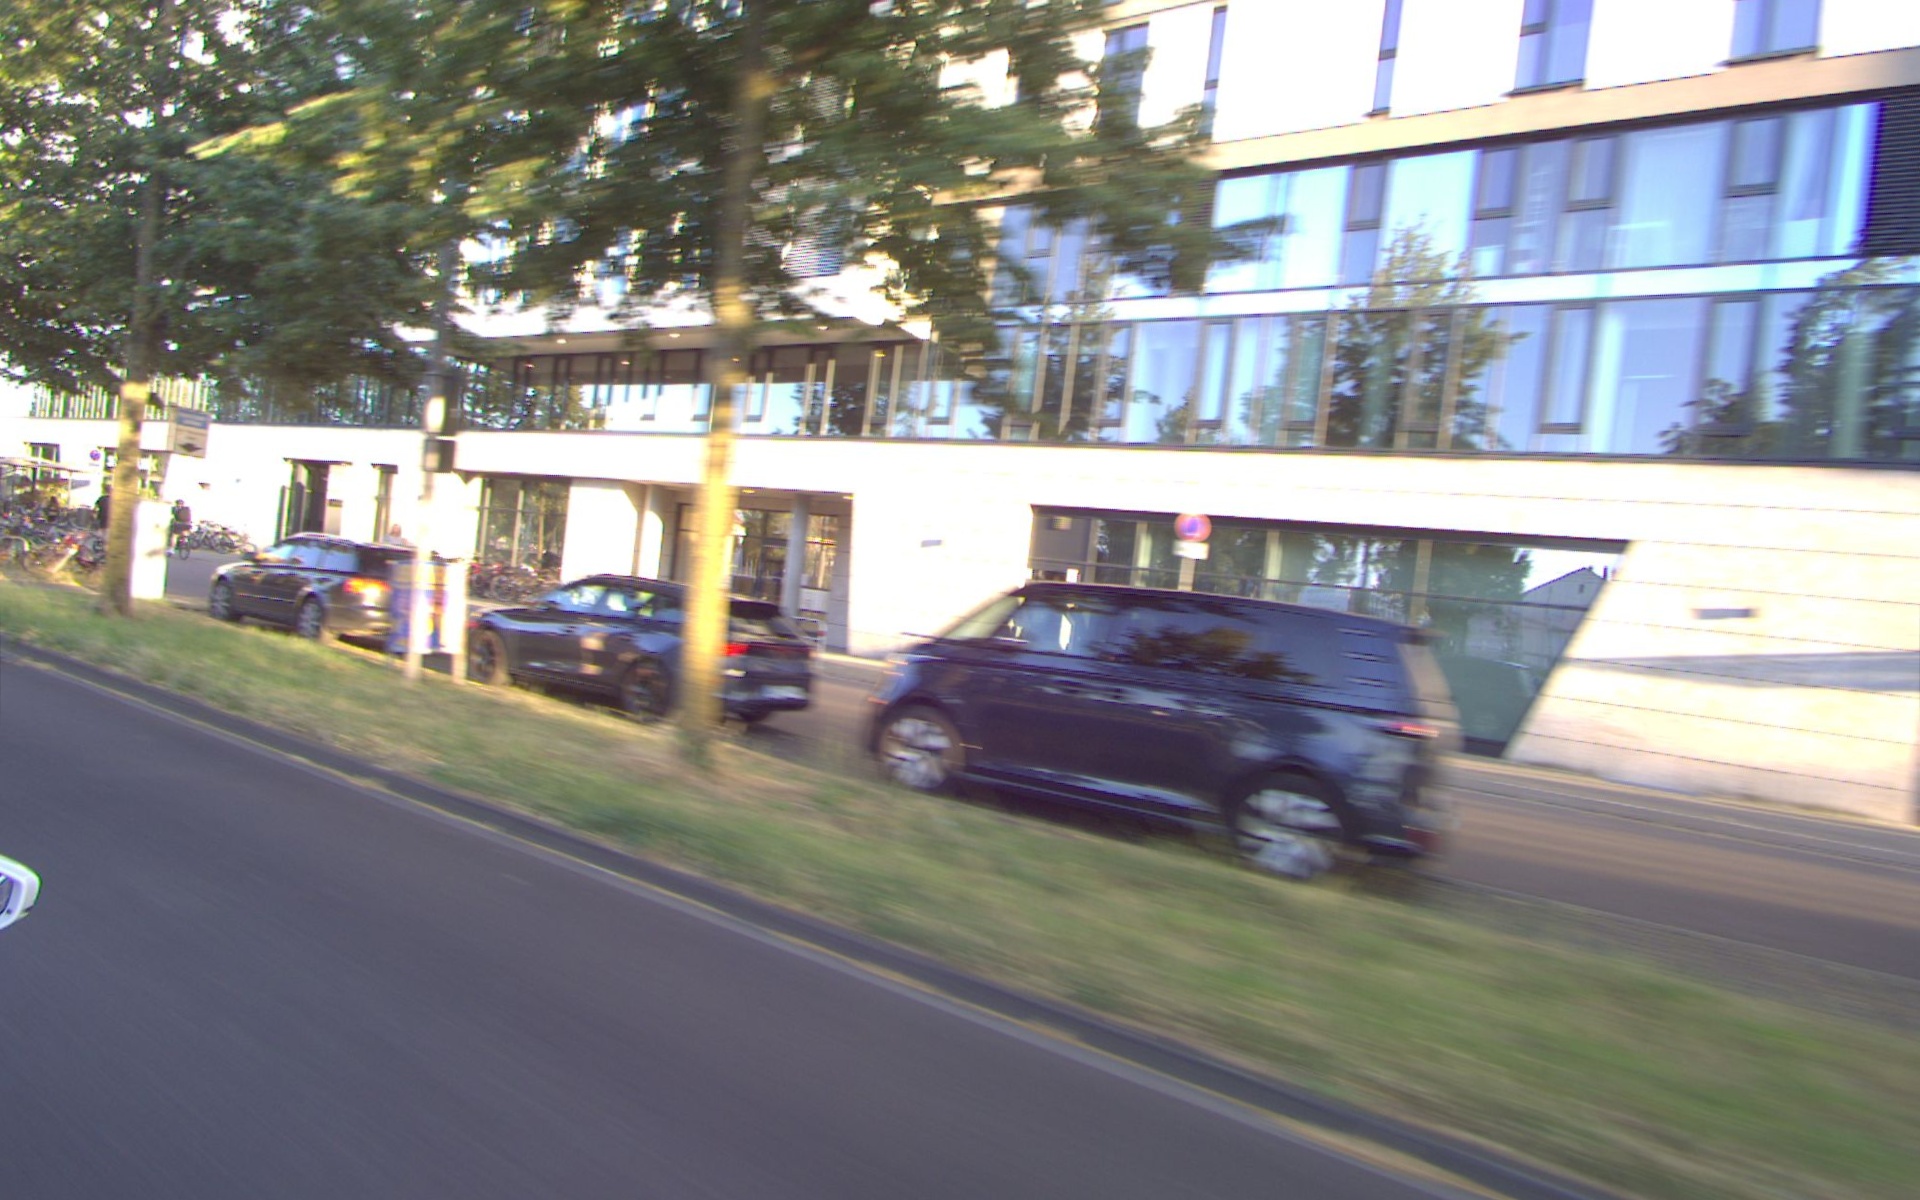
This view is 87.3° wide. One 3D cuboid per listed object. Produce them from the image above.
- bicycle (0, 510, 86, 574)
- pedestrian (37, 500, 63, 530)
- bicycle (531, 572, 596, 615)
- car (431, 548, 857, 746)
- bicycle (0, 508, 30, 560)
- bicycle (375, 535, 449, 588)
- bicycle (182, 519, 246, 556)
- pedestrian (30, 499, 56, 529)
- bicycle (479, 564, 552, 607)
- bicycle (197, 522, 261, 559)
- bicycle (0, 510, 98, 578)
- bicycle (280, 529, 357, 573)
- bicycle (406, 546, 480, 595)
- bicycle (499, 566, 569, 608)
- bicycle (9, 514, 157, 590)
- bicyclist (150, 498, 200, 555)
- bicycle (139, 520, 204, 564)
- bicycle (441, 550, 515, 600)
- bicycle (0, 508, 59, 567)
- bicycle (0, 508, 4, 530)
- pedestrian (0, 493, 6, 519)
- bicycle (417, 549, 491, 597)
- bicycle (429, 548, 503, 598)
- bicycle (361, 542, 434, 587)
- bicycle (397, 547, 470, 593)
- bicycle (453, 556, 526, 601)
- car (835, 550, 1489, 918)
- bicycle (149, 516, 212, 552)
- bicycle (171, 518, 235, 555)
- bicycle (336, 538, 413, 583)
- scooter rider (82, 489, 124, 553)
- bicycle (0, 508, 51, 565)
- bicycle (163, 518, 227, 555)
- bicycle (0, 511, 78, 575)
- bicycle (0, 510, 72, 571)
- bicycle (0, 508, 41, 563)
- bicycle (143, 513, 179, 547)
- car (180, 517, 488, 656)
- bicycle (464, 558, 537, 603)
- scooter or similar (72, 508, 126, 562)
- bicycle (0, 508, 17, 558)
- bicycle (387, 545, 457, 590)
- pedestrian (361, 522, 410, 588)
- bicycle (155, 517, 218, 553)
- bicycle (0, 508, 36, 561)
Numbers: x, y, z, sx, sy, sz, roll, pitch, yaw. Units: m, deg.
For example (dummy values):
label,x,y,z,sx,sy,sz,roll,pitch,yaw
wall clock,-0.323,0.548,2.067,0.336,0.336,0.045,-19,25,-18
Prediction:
label,x,y,z,sx,sy,sz,roll,pitch,yaw
bicycle,-18.990,-1.208,20.273,0.535,1.065,1.951,8,-3,21
pedestrian,-39.960,-3.721,44.179,0.793,1.210,0.572,7,1,34
bicycle,-10.464,-0.162,26.591,0.397,0.999,1.577,7,0,32
car,-3.605,0.435,11.238,4.586,1.489,1.812,7,0,30
bicycle,-21.422,-1.567,21.646,0.407,1.065,1.950,7,-4,24
bicycle,-16.298,-1.123,29.956,0.494,1.373,1.834,7,0,28
bicycle,-27.525,-2.280,37.167,0.500,1.118,1.788,7,0,27
pedestrian,-40.726,-3.822,44.693,0.793,1.210,0.572,7,1,32
bicycle,-12.101,-0.383,27.459,0.397,0.999,1.833,7,0,32
bicycle,-26.412,-2.135,36.375,0.500,1.118,1.788,7,0,27
bicycle,-17.984,-1.100,19.424,0.535,1.065,1.952,8,-3,17
bicycle,-20.405,-1.532,32.024,0.494,1.155,1.986,7,0,28
bicycle,-14.959,-0.837,29.154,0.494,1.191,1.834,7,0,28
bicycle,-11.485,-0.328,27.193,0.397,0.964,1.745,7,0,32
bicycle,-16.594,-0.890,19.095,0.536,1.065,1.948,7,-4,31
bicyclist,-23.883,-2.241,30.594,0.975,1.586,0.773,7,1,29
bicycle,-24.079,-1.765,30.700,2.028,1.093,0.773,7,1,29
bicycle,-13.554,-0.692,28.320,0.438,1.191,1.833,7,0,32
bicycle,-19.995,-1.379,20.791,0.401,1.065,1.950,7,-4,24
bicycle,-22.420,-1.694,22.086,0.407,1.065,1.950,7,-4,24
pedestrian,-49.094,-4.804,51.051,0.725,1.299,0.581,7,1,13
bicycle,-14.490,-0.752,28.843,0.494,1.191,1.834,7,0,28
bicycle,-13.996,-0.753,28.548,0.438,1.191,1.833,7,0,32
bicycle,-16.827,-1.054,30.149,0.494,1.135,1.834,7,0,28
bicycle,-15.440,-0.866,29.537,0.494,1.126,1.834,7,0,28
bicycle,-13.116,-0.580,28.085,0.438,1.060,1.833,7,0,32
car,1.525,0.818,8.059,4.586,1.875,1.997,7,0,30
bicycle,-29.776,-2.513,38.468,0.500,1.118,1.788,7,0,27
bicycle,-28.099,-2.338,37.390,0.500,1.118,1.788,7,0,27
bicycle,-17.941,-1.188,30.874,0.494,1.155,1.986,7,0,28
scooter rider,-24.004,-2.214,28.163,0.818,1.659,0.526,7,1,29
bicycle,-20.371,-1.425,21.006,0.401,1.065,1.950,7,-4,24
bicycle,-28.669,-2.367,37.723,0.500,1.118,1.788,7,0,27
bicycle,-18.562,-1.169,19.601,0.535,1.065,1.952,8,-3,17
bicycle,-19.532,-1.292,20.545,0.535,1.065,1.950,7,-4,24
bicycle,-20.723,-1.480,21.174,0.309,1.065,1.950,7,-4,24
bicycle,-32.623,-2.876,41.057,2.227,1.223,0.469,7,1,35
car,-9.001,-0.218,14.354,4.570,1.429,1.870,7,0,33
bicycle,-12.699,-0.529,27.854,0.397,1.070,1.833,7,0,32
scooter or similar,-24.171,-1.835,28.226,1.636,1.327,0.526,7,1,29
bicycle,-21.903,-1.623,21.844,0.407,1.065,1.950,7,-4,24
bicycle,-15.882,-0.943,29.721,0.366,1.138,1.834,7,0,28
pedestrian,-15.696,-1.219,27.466,0.937,1.669,0.643,7,1,31
bicycle,-29.320,-2.453,38.175,0.500,1.118,1.788,7,0,27
bicycle,-21.018,-1.514,21.384,0.341,1.065,1.950,7,-4,24
